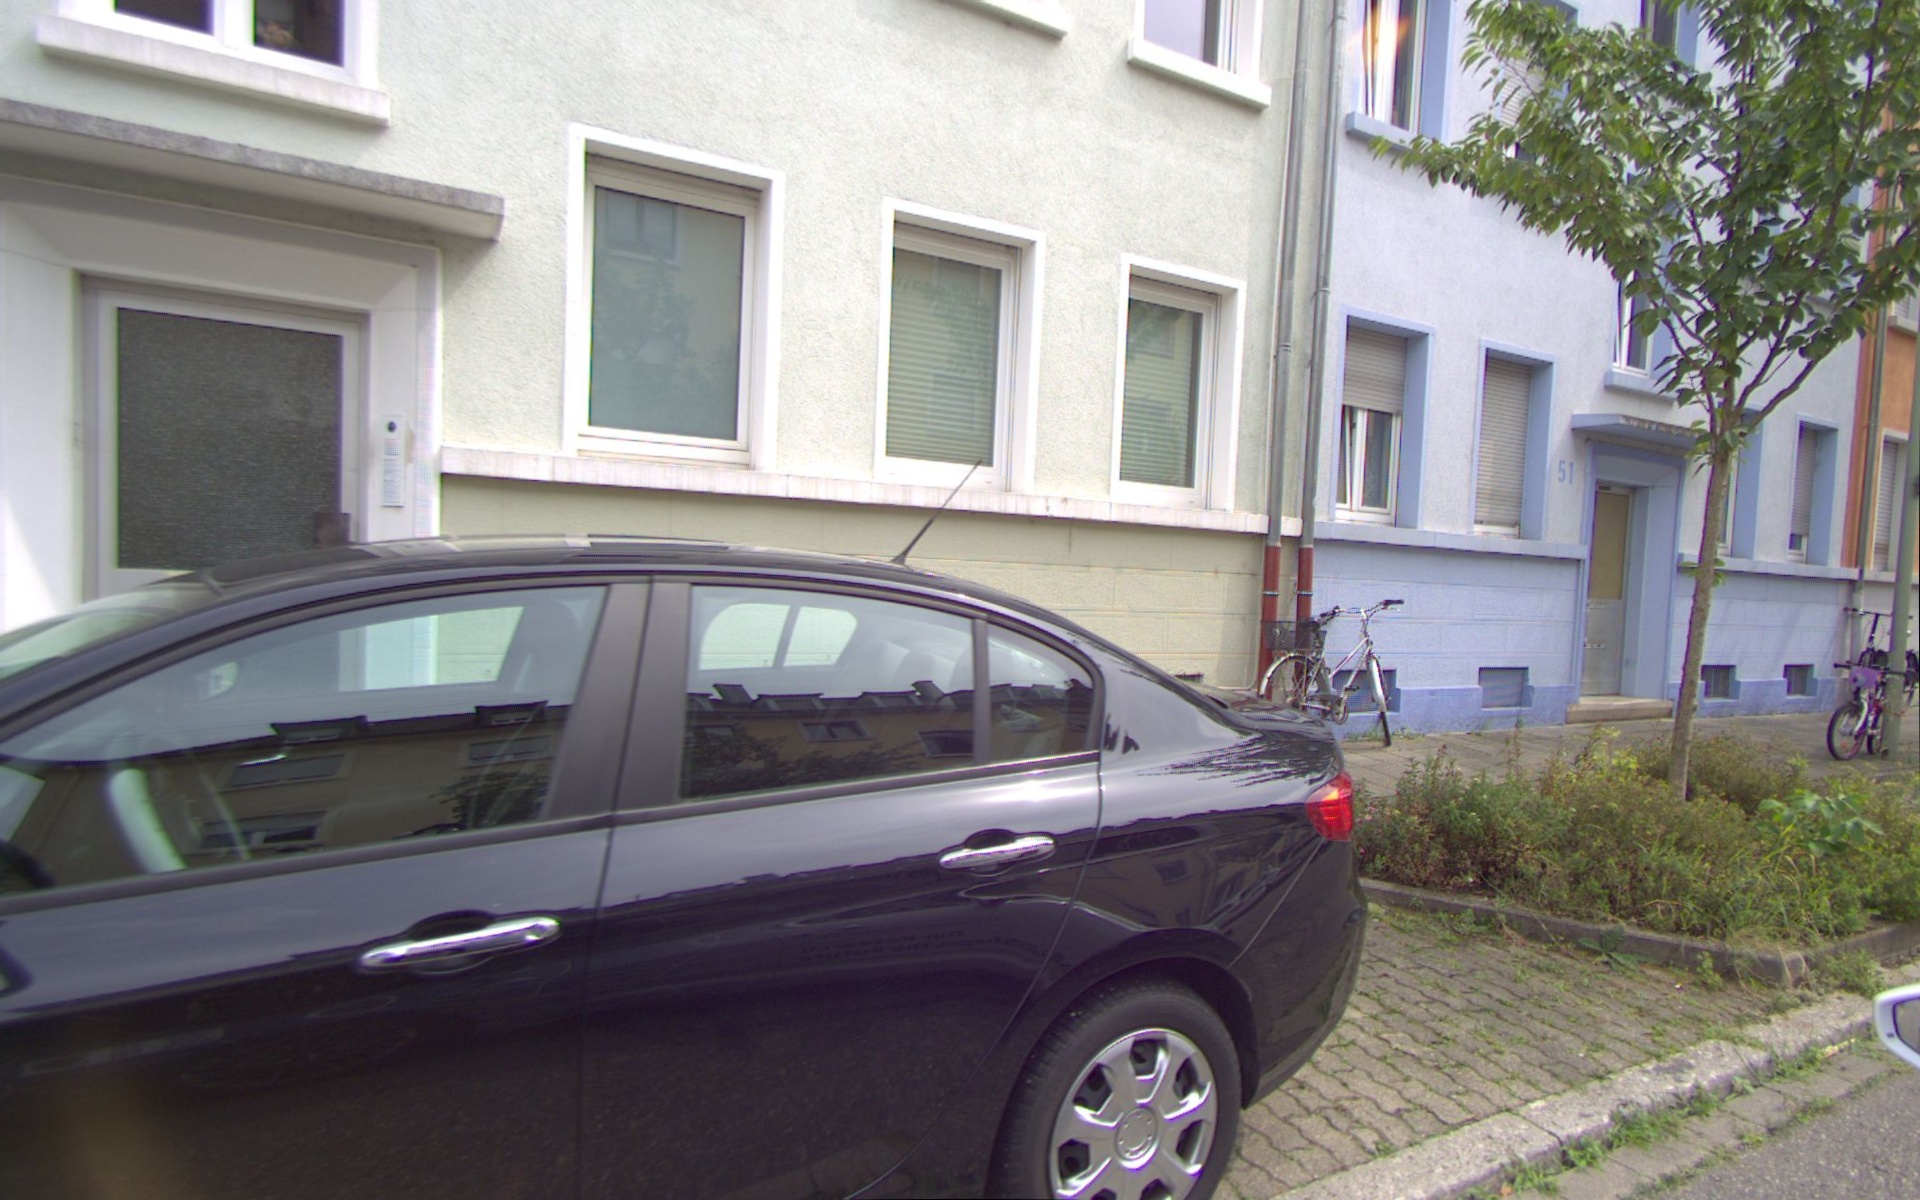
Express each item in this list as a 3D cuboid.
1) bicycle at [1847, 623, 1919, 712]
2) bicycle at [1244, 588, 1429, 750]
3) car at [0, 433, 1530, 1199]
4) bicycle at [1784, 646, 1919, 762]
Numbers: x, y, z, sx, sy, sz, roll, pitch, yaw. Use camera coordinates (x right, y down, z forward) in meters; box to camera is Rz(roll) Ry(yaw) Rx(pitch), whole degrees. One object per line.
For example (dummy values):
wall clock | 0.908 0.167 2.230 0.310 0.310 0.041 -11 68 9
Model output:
bicycle | 11.315 0.805 12.128 1.550 1.009 0.365 2 1 -29
bicycle | 2.824 0.498 7.480 1.519 1.128 0.365 2 0 -29
car | -0.844 0.571 2.300 4.196 1.563 1.695 2 2 -28
bicycle | 7.739 0.867 8.610 1.519 0.884 0.412 2 6 -29
